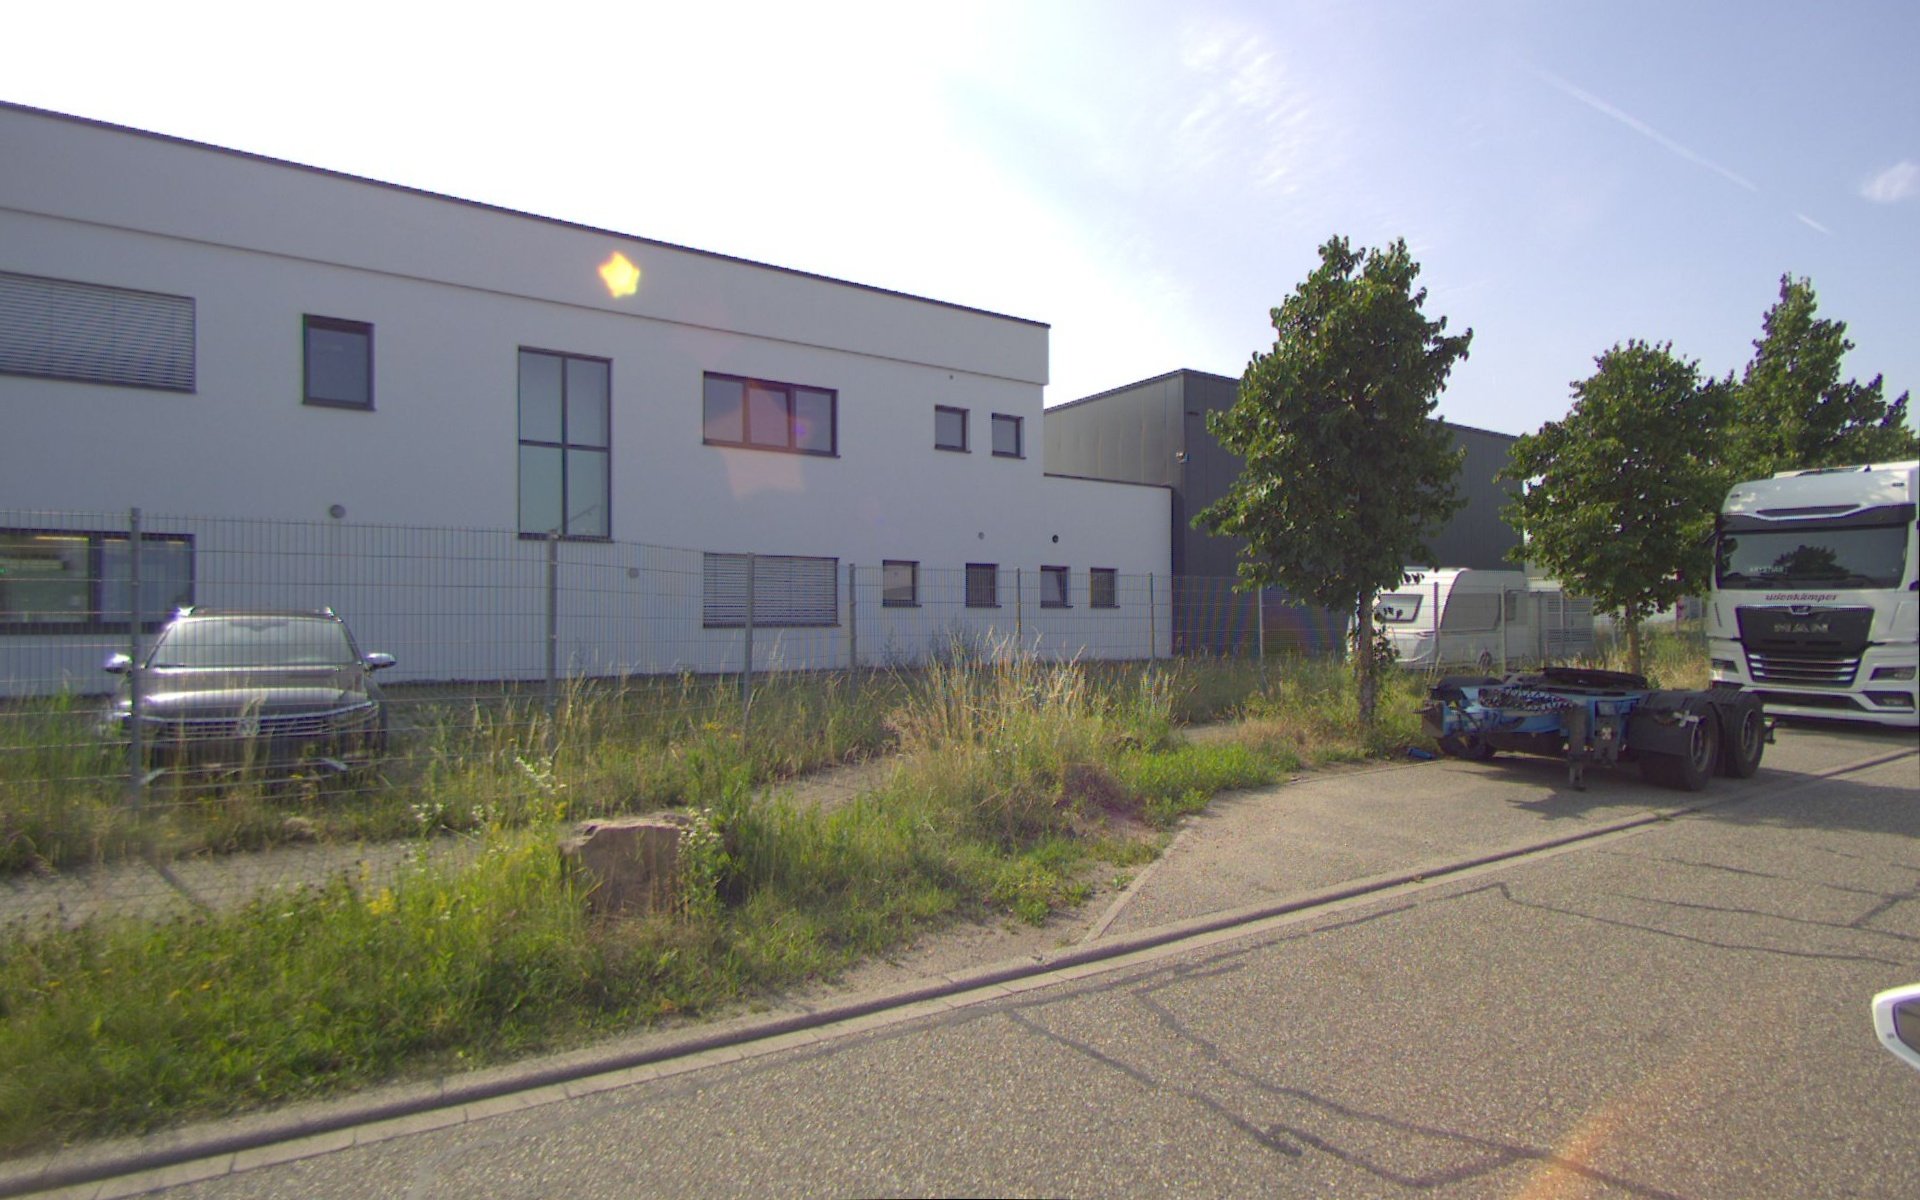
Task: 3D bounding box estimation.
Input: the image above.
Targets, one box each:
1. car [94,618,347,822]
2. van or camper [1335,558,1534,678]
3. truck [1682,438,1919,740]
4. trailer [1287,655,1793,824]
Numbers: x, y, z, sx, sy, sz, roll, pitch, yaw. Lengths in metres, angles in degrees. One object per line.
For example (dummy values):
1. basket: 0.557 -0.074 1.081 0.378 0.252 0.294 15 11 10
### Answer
1. car: -6.701 0.908 9.222 1.581 1.473 3.469 0 -1 -36
2. van or camper: 11.435 0.441 24.072 4.908 2.594 2.289 0 -2 -37
3. truck: 17.150 -0.094 17.825 12.779 3.981 2.611 0 -1 -33
4. trailer: 6.048 1.213 10.300 5.148 1.114 2.558 1 -1 -34
